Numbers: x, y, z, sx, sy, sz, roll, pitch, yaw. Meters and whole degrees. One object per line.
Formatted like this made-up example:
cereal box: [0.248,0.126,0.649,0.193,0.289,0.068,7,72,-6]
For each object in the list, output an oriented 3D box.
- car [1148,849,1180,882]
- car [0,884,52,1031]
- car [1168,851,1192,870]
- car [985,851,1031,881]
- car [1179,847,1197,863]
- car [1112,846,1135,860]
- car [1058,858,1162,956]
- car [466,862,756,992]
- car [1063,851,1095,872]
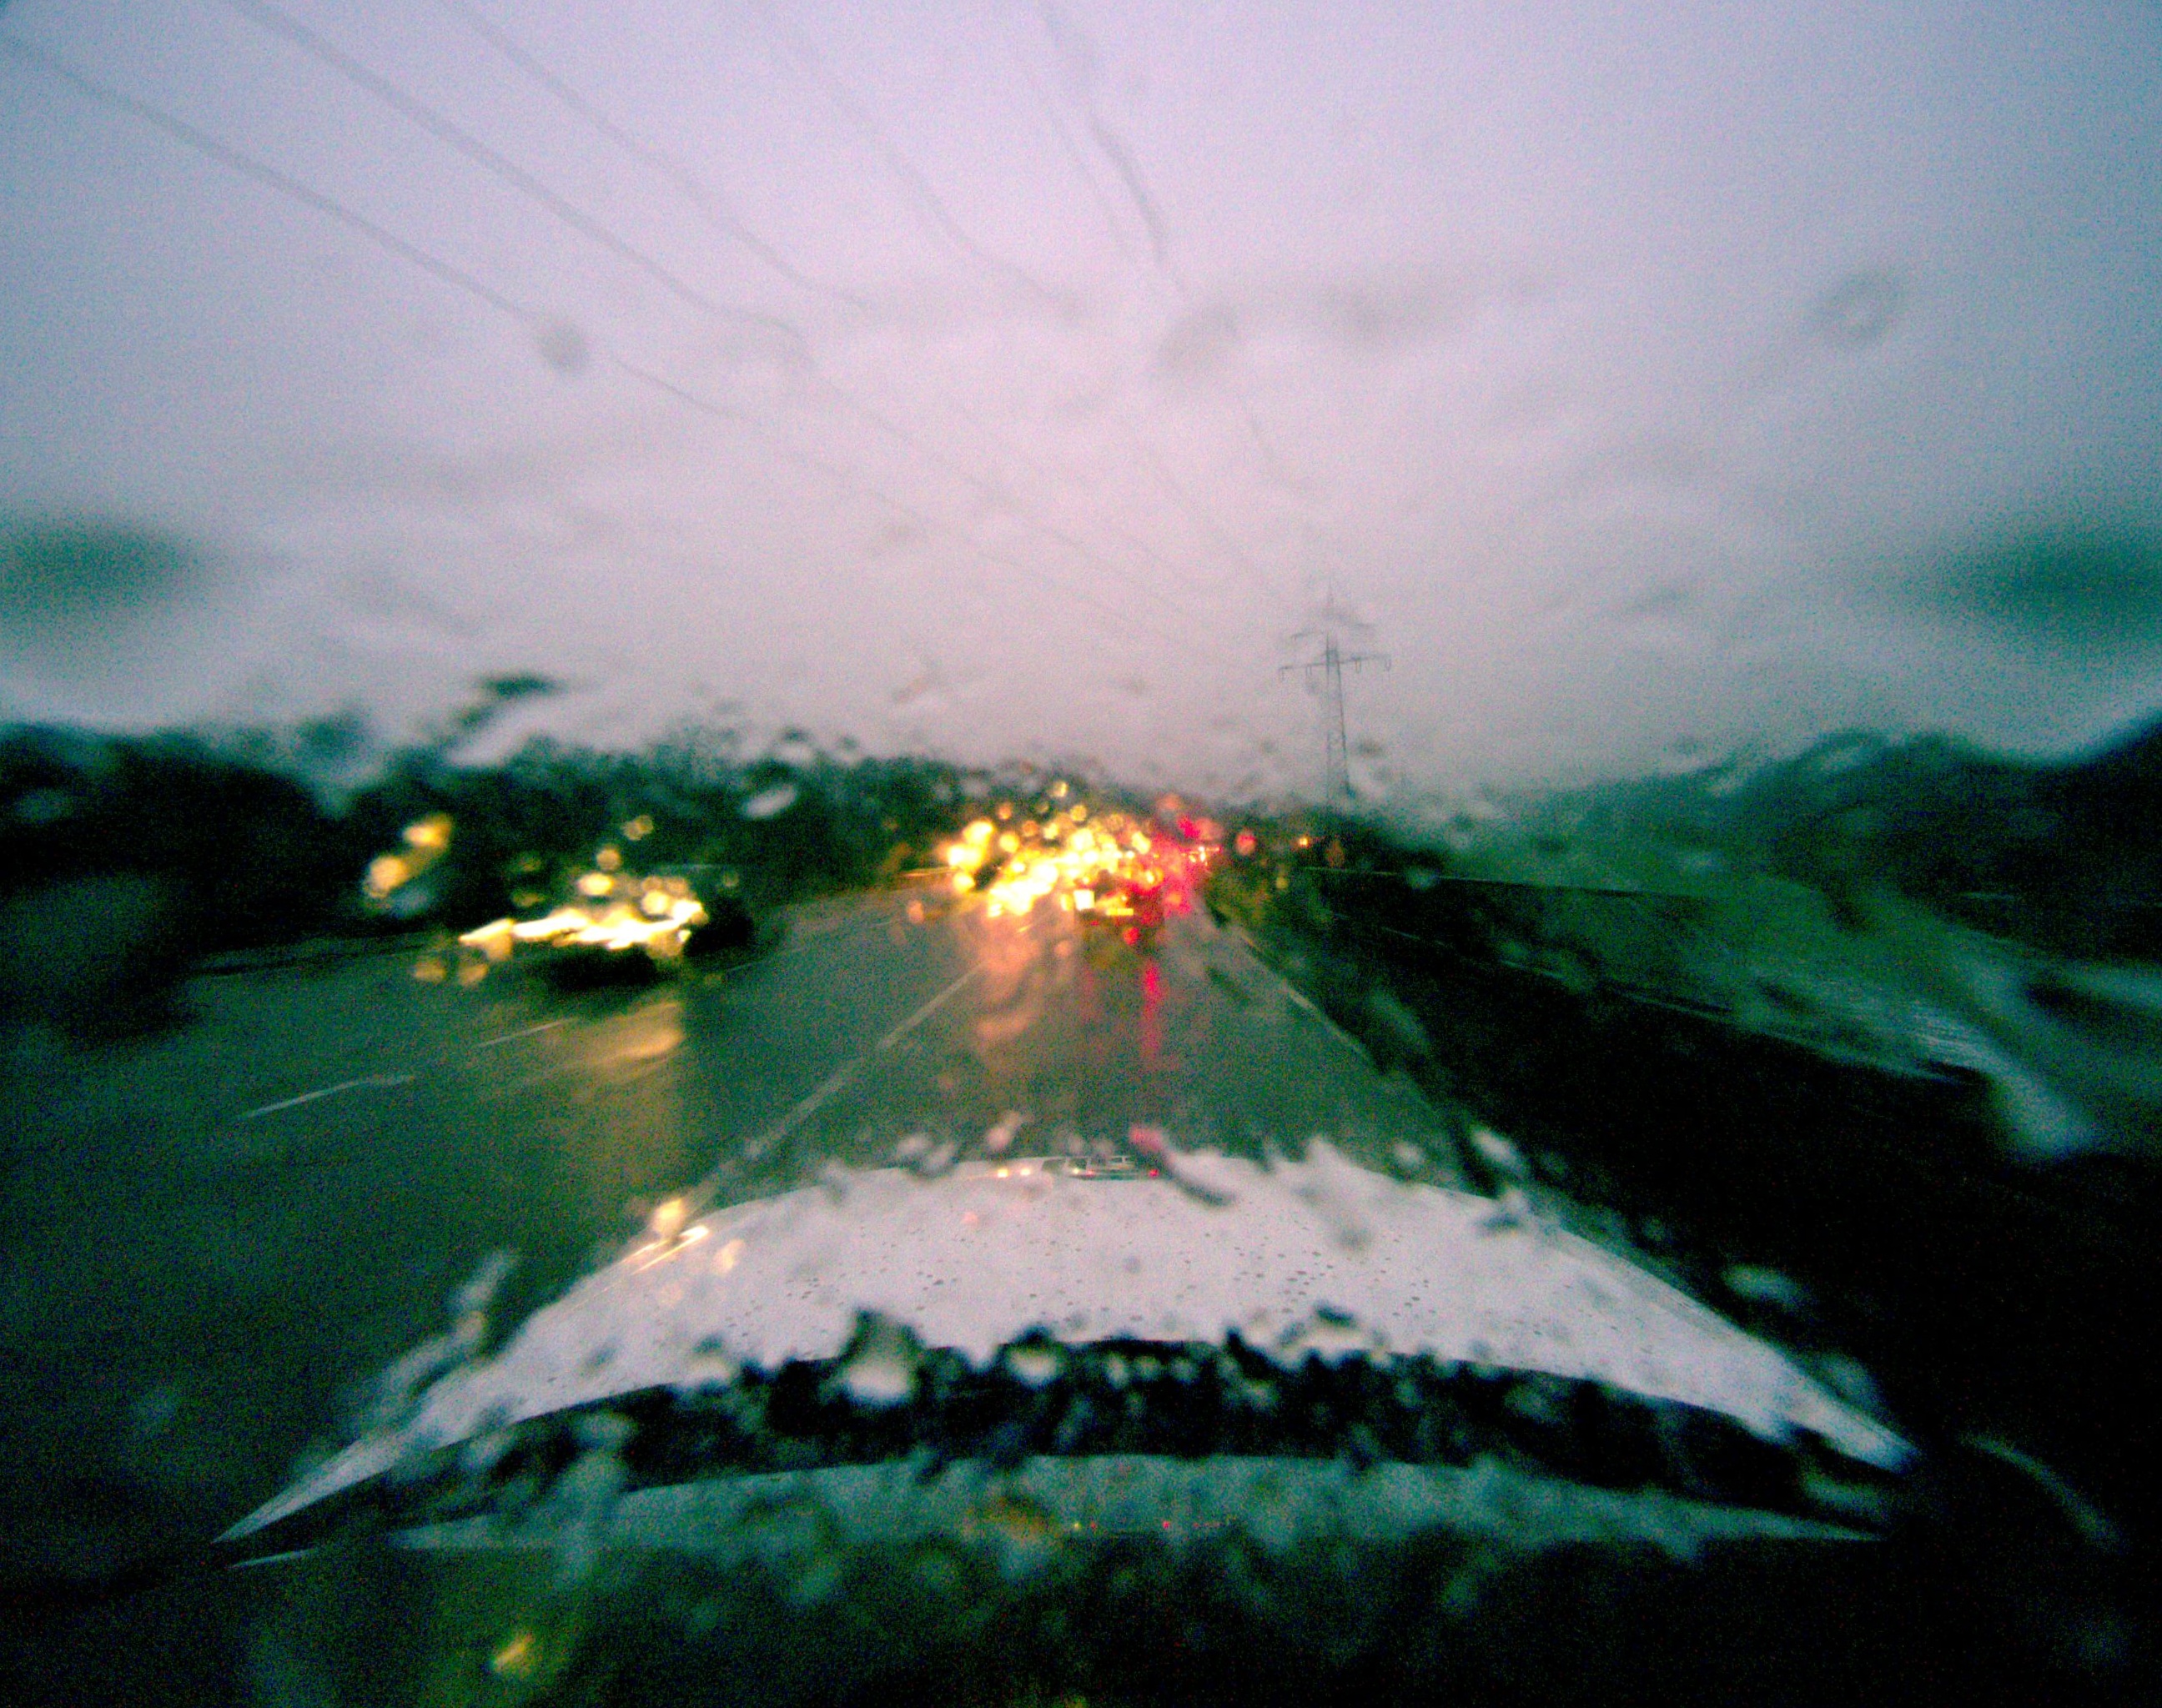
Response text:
car: [5.502,0.713,53.895,1.936,2.013,4.007,-1,1,6]
car: [-10.506,0.949,5.535,1.583,1.244,4.017,-3,0,16]
car: [9.129,0.578,75.343,1.937,1.745,4.004,-1,0,4]
car: [-3.901,0.611,44.389,1.628,1.472,4.456,2,1,6]
car: [12.049,0.133,91.516,1.935,1.745,4.008,-1,-1,8]
car: [4.692,-0.075,89.117,1.981,1.490,4.394,0,0,10]
car: [0.526,0.947,16.427,1.724,1.532,4.042,-4,0,0]
car: [-6.150,0.846,11.275,1.689,1.417,3.999,0,0,0]
car: [-0.141,0.582,66.244,1.877,1.589,4.394,0,0,10]
